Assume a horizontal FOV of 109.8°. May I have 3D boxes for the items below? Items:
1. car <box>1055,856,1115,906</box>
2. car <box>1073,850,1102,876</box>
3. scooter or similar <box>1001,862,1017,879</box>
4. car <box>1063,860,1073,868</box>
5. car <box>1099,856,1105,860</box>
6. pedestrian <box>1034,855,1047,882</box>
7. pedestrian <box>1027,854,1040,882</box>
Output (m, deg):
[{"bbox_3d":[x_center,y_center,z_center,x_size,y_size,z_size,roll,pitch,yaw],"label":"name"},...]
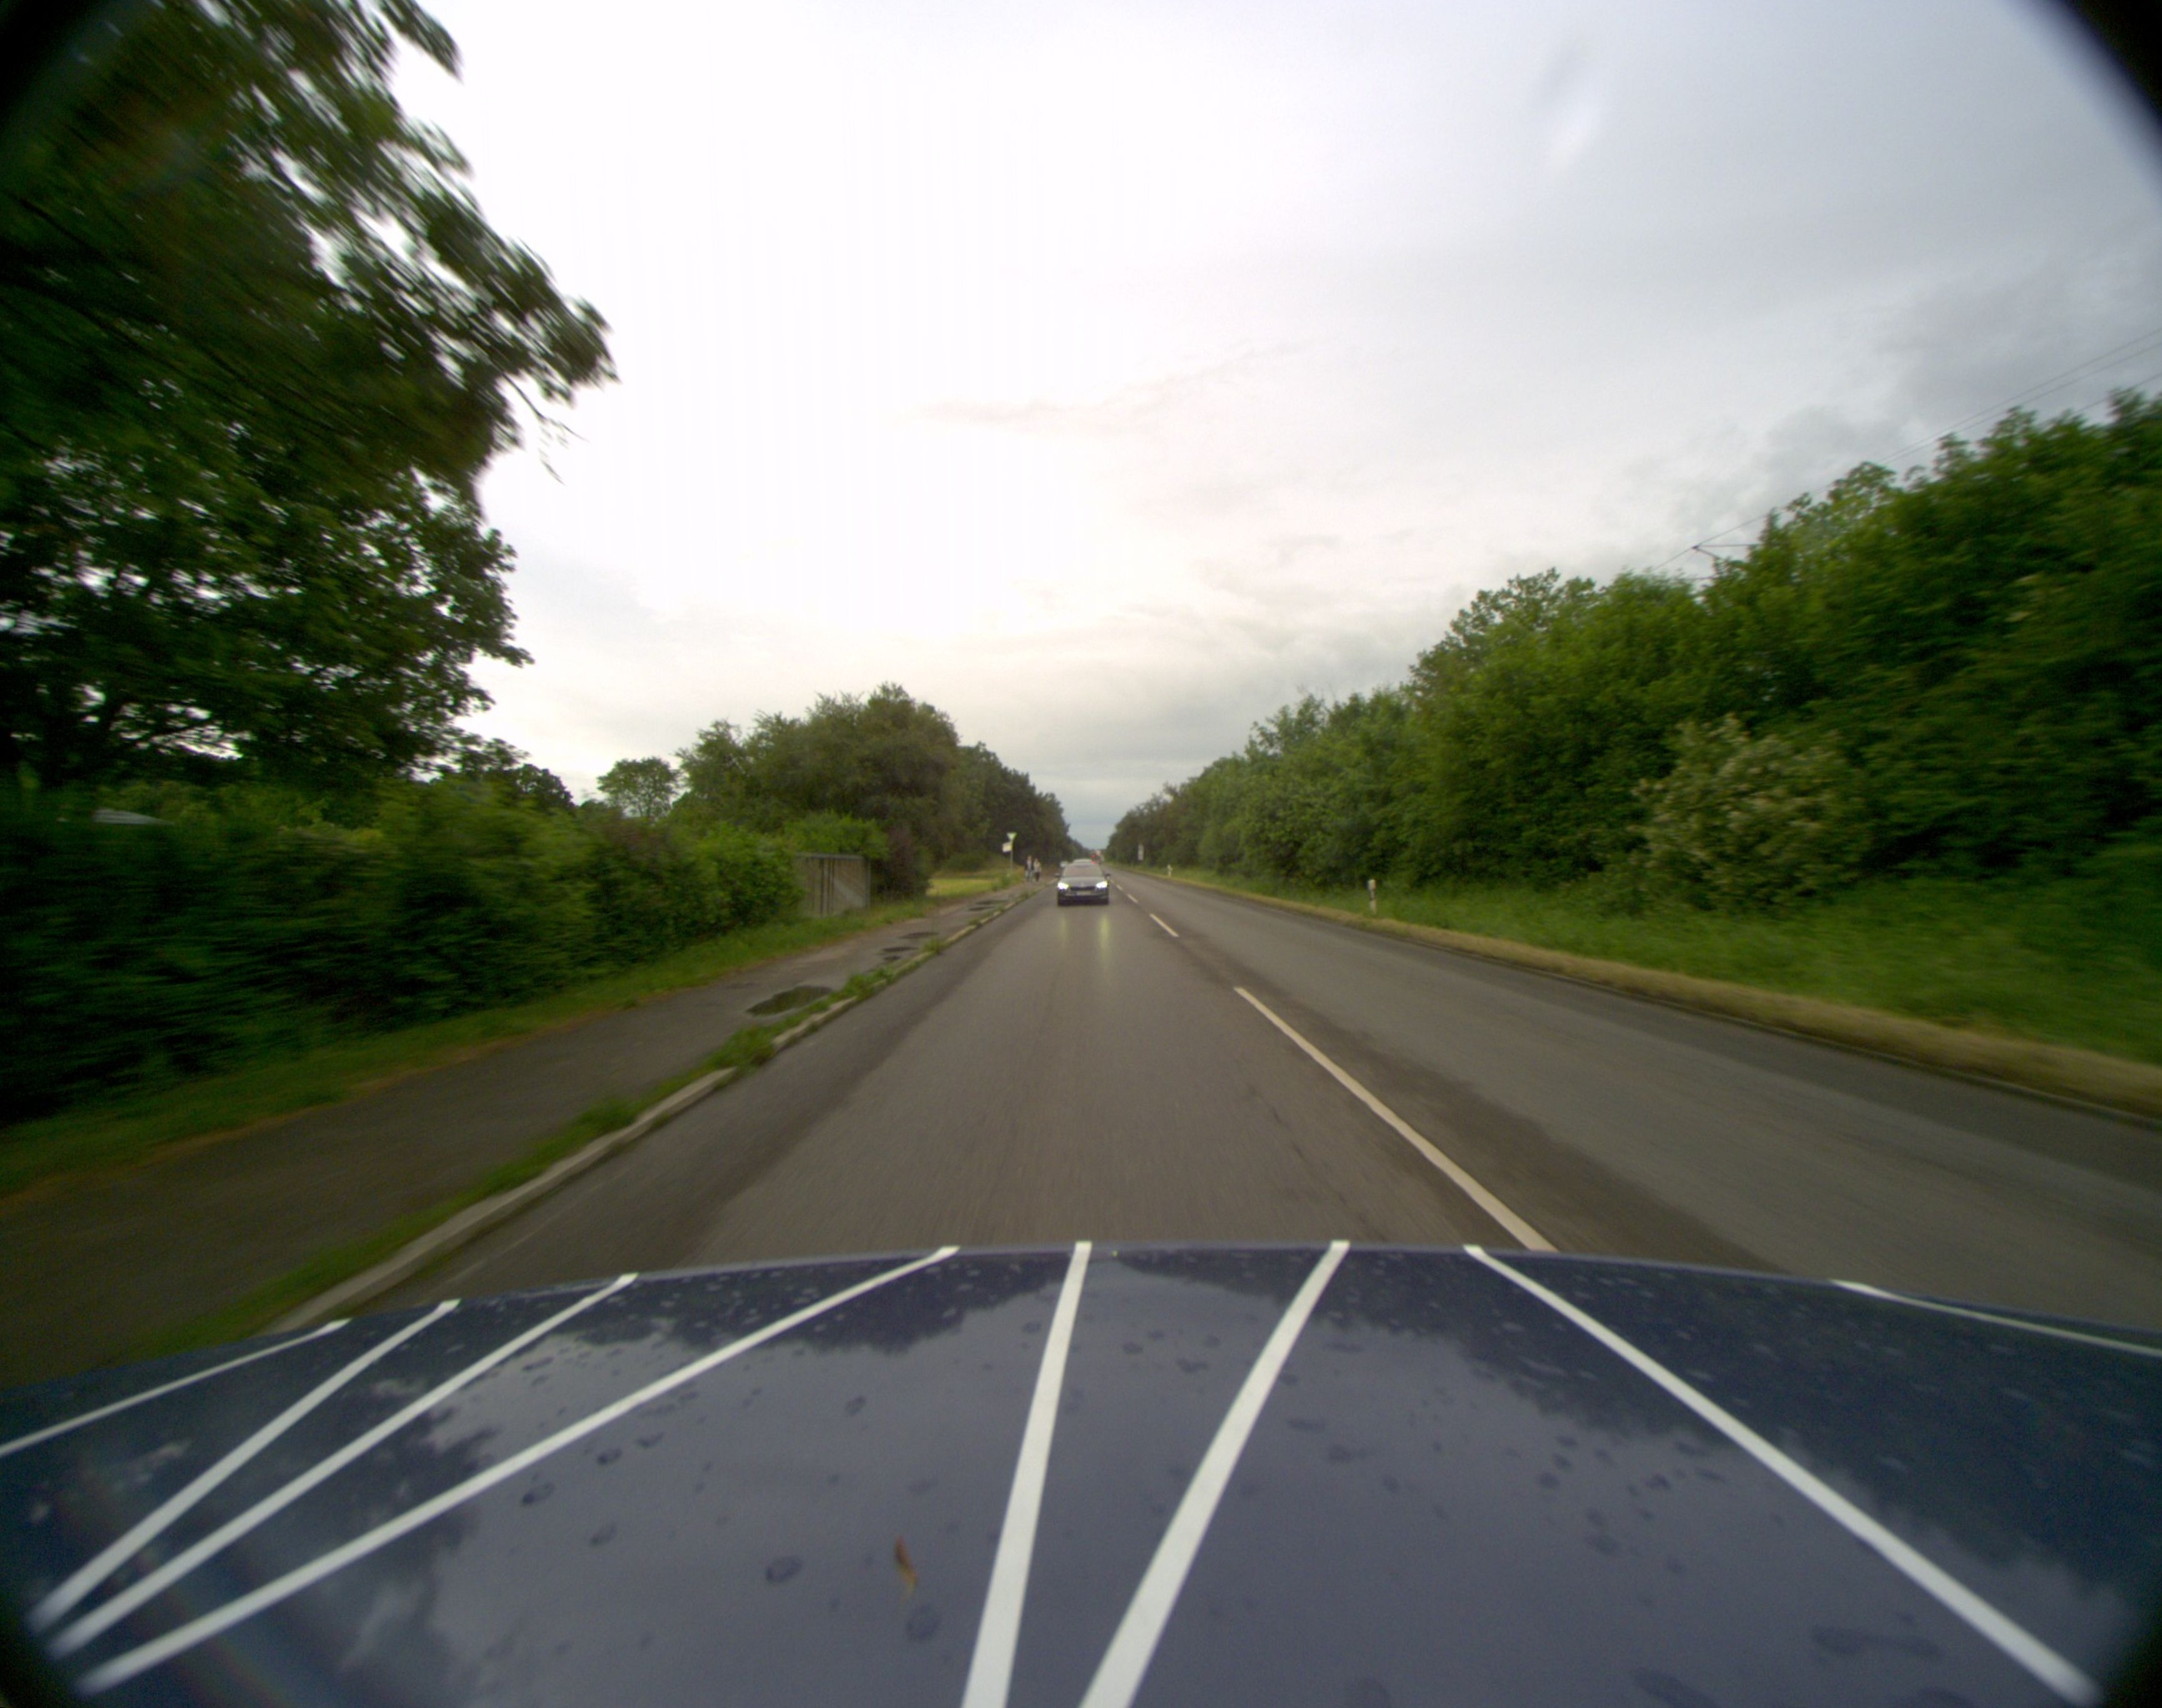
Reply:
[{"bbox_3d":[0.147,0.922,27.551,1.915,1.543,4.354,-3,0,0],"label":"car"},{"bbox_3d":[0.455,0.607,53.263,1.915,1.690,3.913,-3,0,0],"label":"car"},{"bbox_3d":[-5.305,1.194,56.087,1.324,1.199,0.375,0,1,41],"label":"scooter or similar"},{"bbox_3d":[-2.479,1.843,145.481,1.749,1.459,4.220,0,0,1],"label":"car"},{"bbox_3d":[7.355,1.398,264.328,1.876,1.480,4.574,2,0,0],"label":"car"},{"bbox_3d":[-2.705,0.986,50.772,0.663,1.768,0.759,-1,1,-16],"label":"pedestrian"},{"bbox_3d":[-3.116,0.904,49.489,0.696,1.817,0.800,-1,1,-16],"label":"pedestrian"}]
